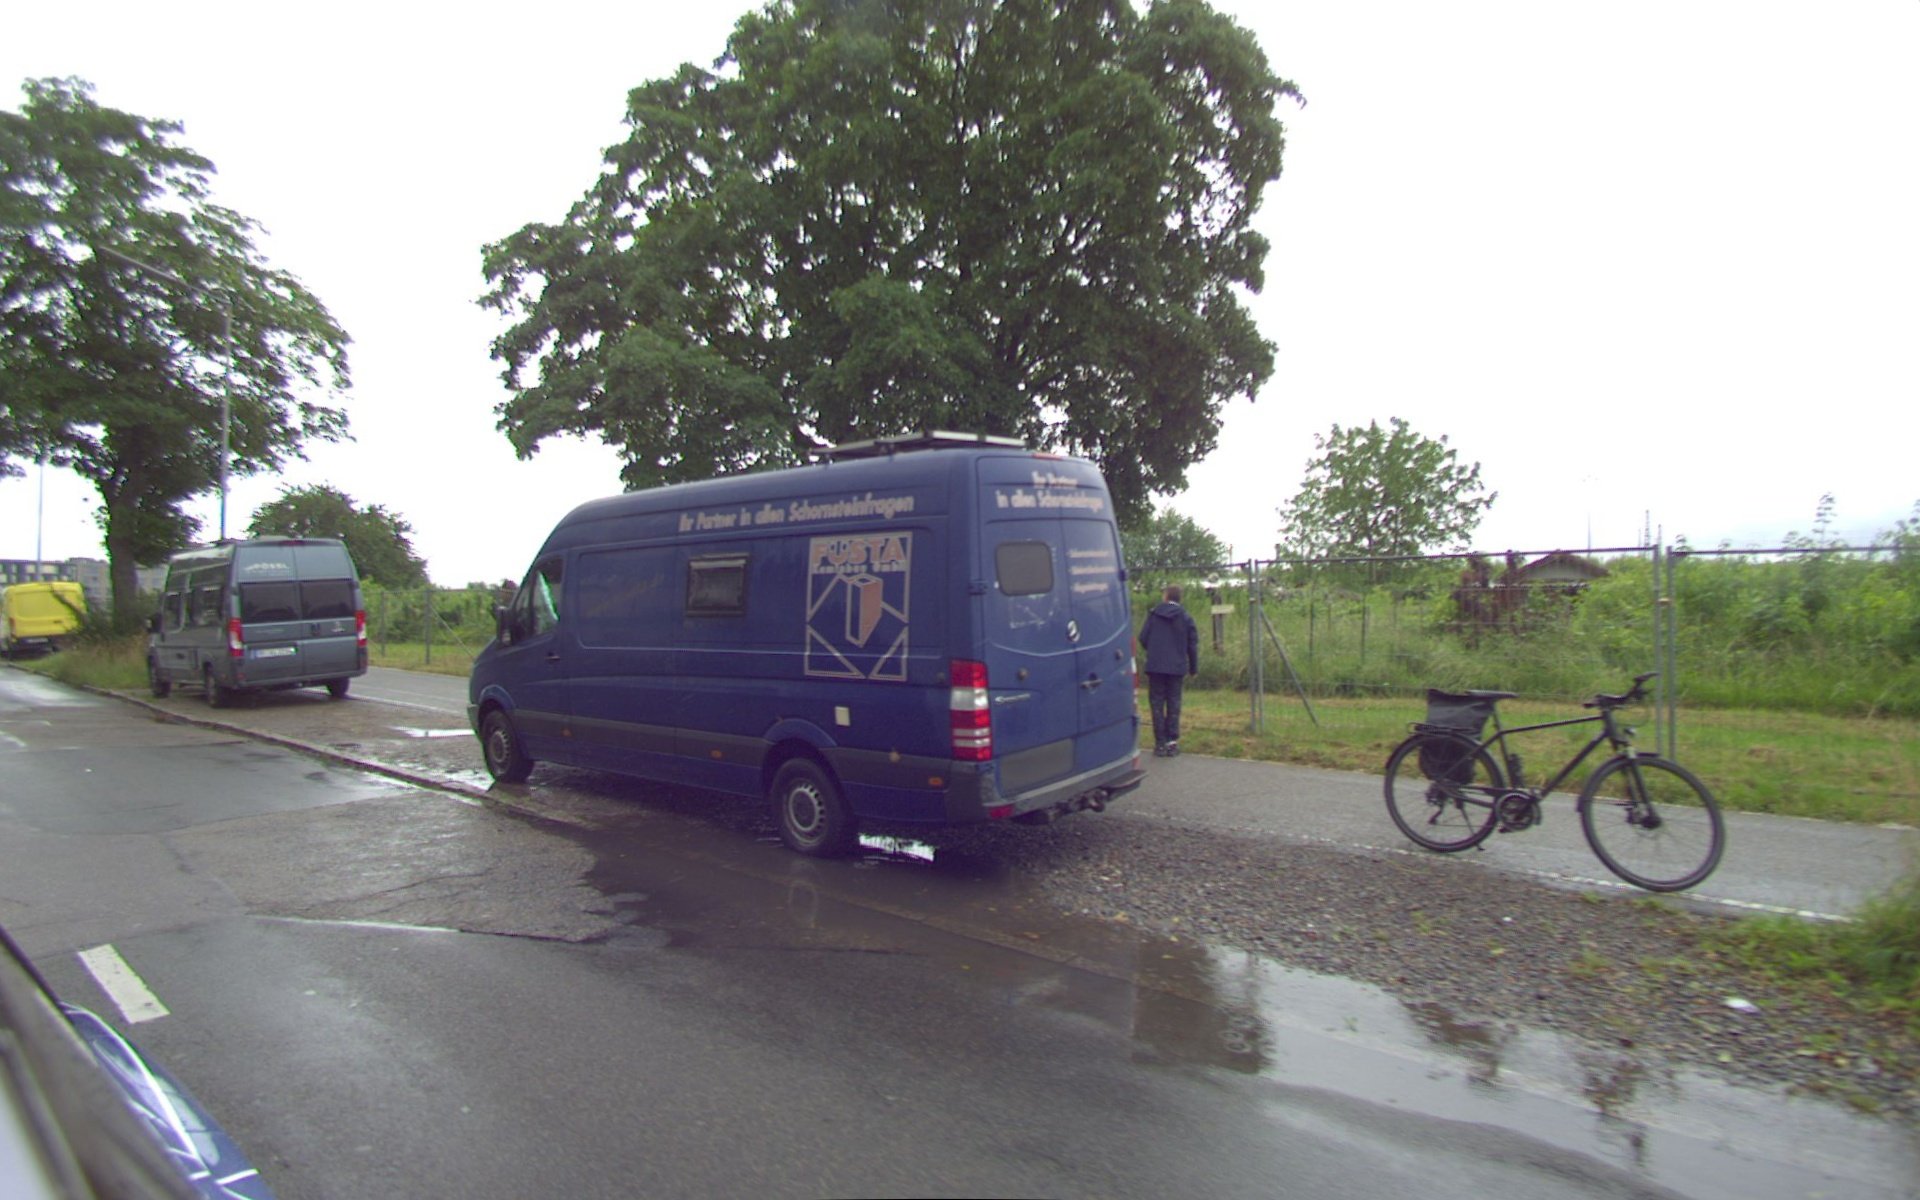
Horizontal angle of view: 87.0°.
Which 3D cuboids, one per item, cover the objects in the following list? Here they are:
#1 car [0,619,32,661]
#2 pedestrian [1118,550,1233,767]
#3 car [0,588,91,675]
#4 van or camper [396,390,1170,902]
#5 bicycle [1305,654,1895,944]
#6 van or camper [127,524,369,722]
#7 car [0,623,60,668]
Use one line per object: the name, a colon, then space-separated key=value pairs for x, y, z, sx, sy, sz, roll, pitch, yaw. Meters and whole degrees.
car: x=-40.735 y=1.683 z=42.500 sx=5.014 sy=1.606 sz=1.973 roll=0 pitch=2 yaw=40
pedestrian: x=2.134 y=0.547 z=10.026 sx=0.853 sy=2.029 sz=0.712 roll=-1 pitch=0 yaw=41
car: x=-31.944 y=1.007 z=34.964 sx=6.081 sy=2.714 sz=2.168 roll=-1 pitch=1 yaw=43
van or camper: x=-2.117 y=0.214 z=8.637 sx=7.568 sy=2.736 sz=2.074 roll=0 pitch=2 yaw=40
bicycle: x=3.338 y=0.933 z=5.656 sx=0.686 sy=1.159 sz=2.685 roll=-1 pitch=0 yaw=-39
van or camper: x=-13.378 y=0.330 z=18.802 sx=6.419 sy=3.117 sz=2.073 roll=0 pitch=2 yaw=40
car: x=-36.606 y=1.724 z=39.123 sx=5.336 sy=1.445 sz=1.990 roll=0 pitch=2 yaw=41
